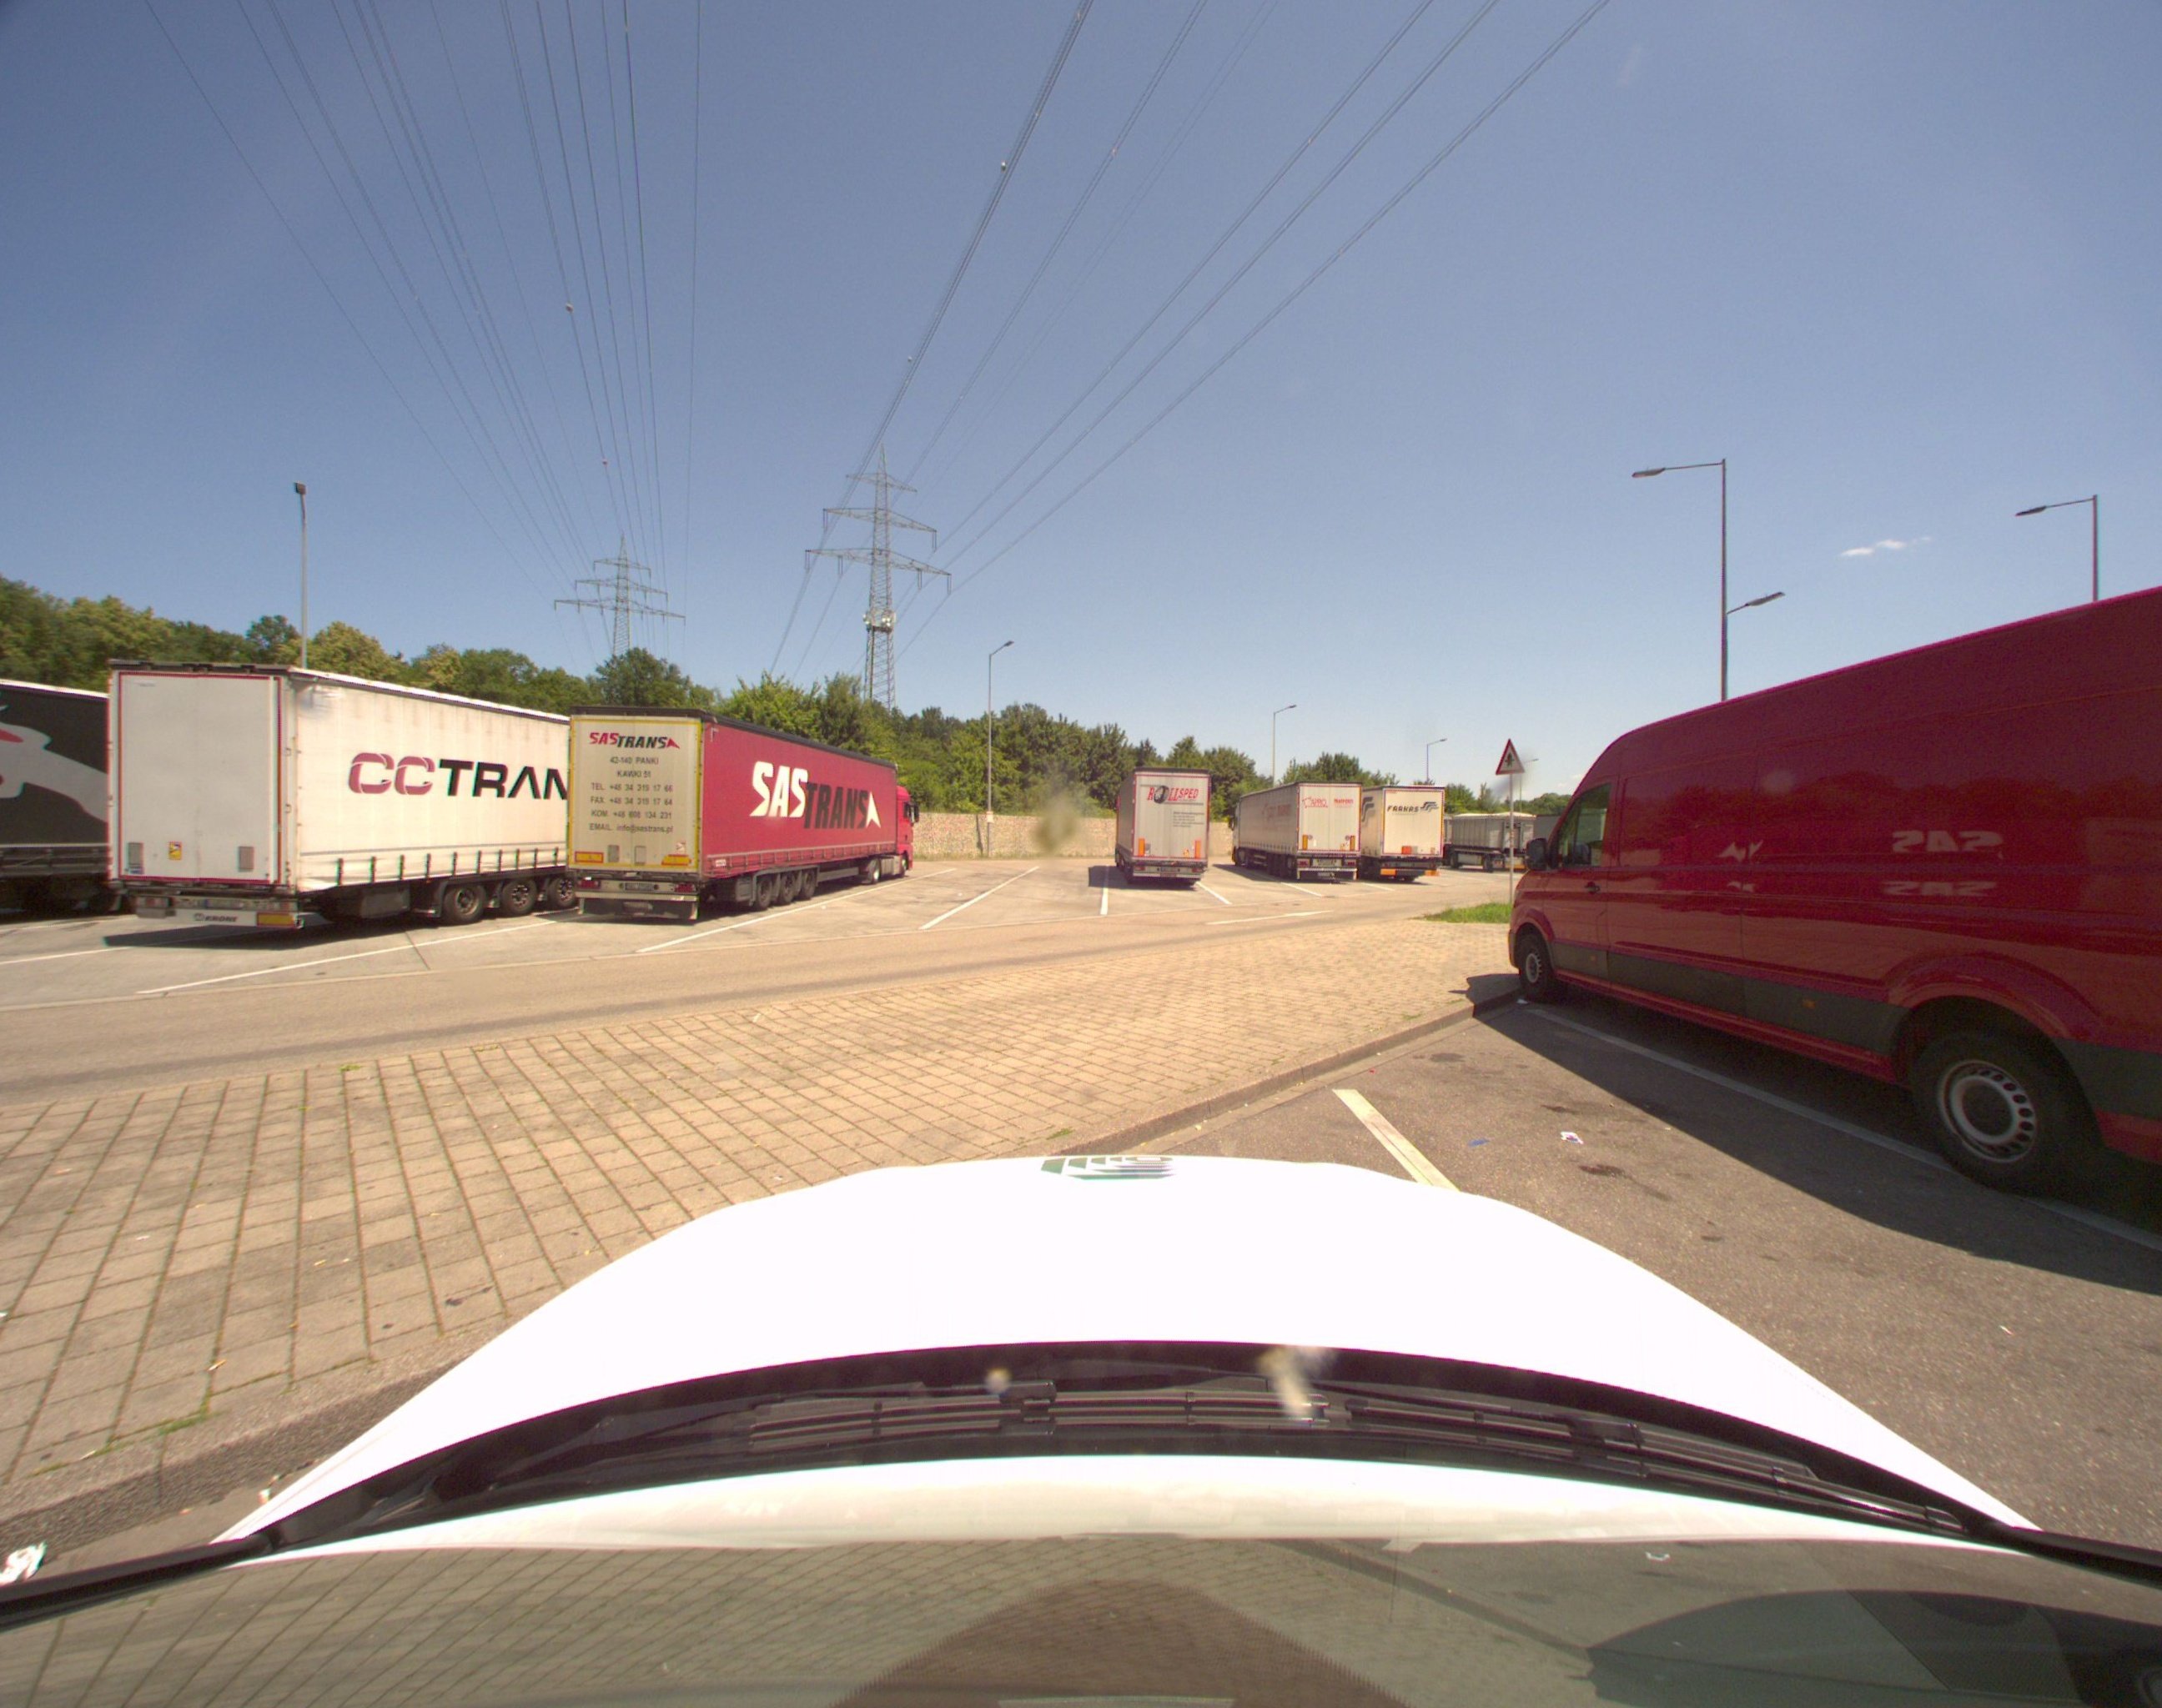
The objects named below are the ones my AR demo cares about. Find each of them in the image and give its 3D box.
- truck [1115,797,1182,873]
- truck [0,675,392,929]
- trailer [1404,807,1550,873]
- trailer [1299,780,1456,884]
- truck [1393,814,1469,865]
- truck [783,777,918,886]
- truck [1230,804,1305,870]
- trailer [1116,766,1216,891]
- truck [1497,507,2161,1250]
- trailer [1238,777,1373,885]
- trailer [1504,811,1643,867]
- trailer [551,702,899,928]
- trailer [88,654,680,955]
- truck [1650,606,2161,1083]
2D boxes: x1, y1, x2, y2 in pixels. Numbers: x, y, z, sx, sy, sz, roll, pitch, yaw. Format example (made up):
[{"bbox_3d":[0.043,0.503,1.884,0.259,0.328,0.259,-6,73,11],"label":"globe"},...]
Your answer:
[{"bbox_3d":[3.139,-0.934,39.409,2.855,3.362,5.977,1,2,2],"label":"truck"},{"bbox_3d":[-18.552,-0.940,15.830,2.696,4.070,8.694,1,2,2],"label":"truck"},{"bbox_3d":[24.441,-0.983,51.494,2.847,3.599,13.770,1,2,2],"label":"trailer"},{"bbox_3d":[13.608,-1.087,39.221,2.847,4.109,13.770,1,2,2],"label":"trailer"},{"bbox_3d":[24.628,-1.071,57.591,2.855,3.362,5.977,1,2,2],"label":"truck"},{"bbox_3d":[-7.834,-0.792,28.542,2.801,3.362,5.977,1,2,2],"label":"truck"},{"bbox_3d":[10.179,-0.970,45.061,2.855,3.362,5.977,1,2,2],"label":"truck"},{"bbox_3d":[3.047,-1.044,33.207,2.848,3.971,13.767,1,2,1],"label":"trailer"},{"bbox_3d":[5.138,0.084,5.450,2.001,2.651,6.466,-1,0,6],"label":"truck"},{"bbox_3d":[9.980,-1.113,38.297,2.847,4.109,13.770,1,2,2],"label":"trailer"},{"bbox_3d":[38.223,-1.281,64.175,2.847,3.904,13.770,1,2,2],"label":"trailer"},{"bbox_3d":[-8.049,-0.926,21.726,2.811,4.070,13.770,1,2,2],"label":"trailer"},{"bbox_3d":[-12.164,-0.841,16.422,2.696,4.101,10.395,1,2,2],"label":"trailer"},{"bbox_3d":[7.998,-0.066,6.883,2.406,2.906,6.466,-1,0,6],"label":"truck"}]
